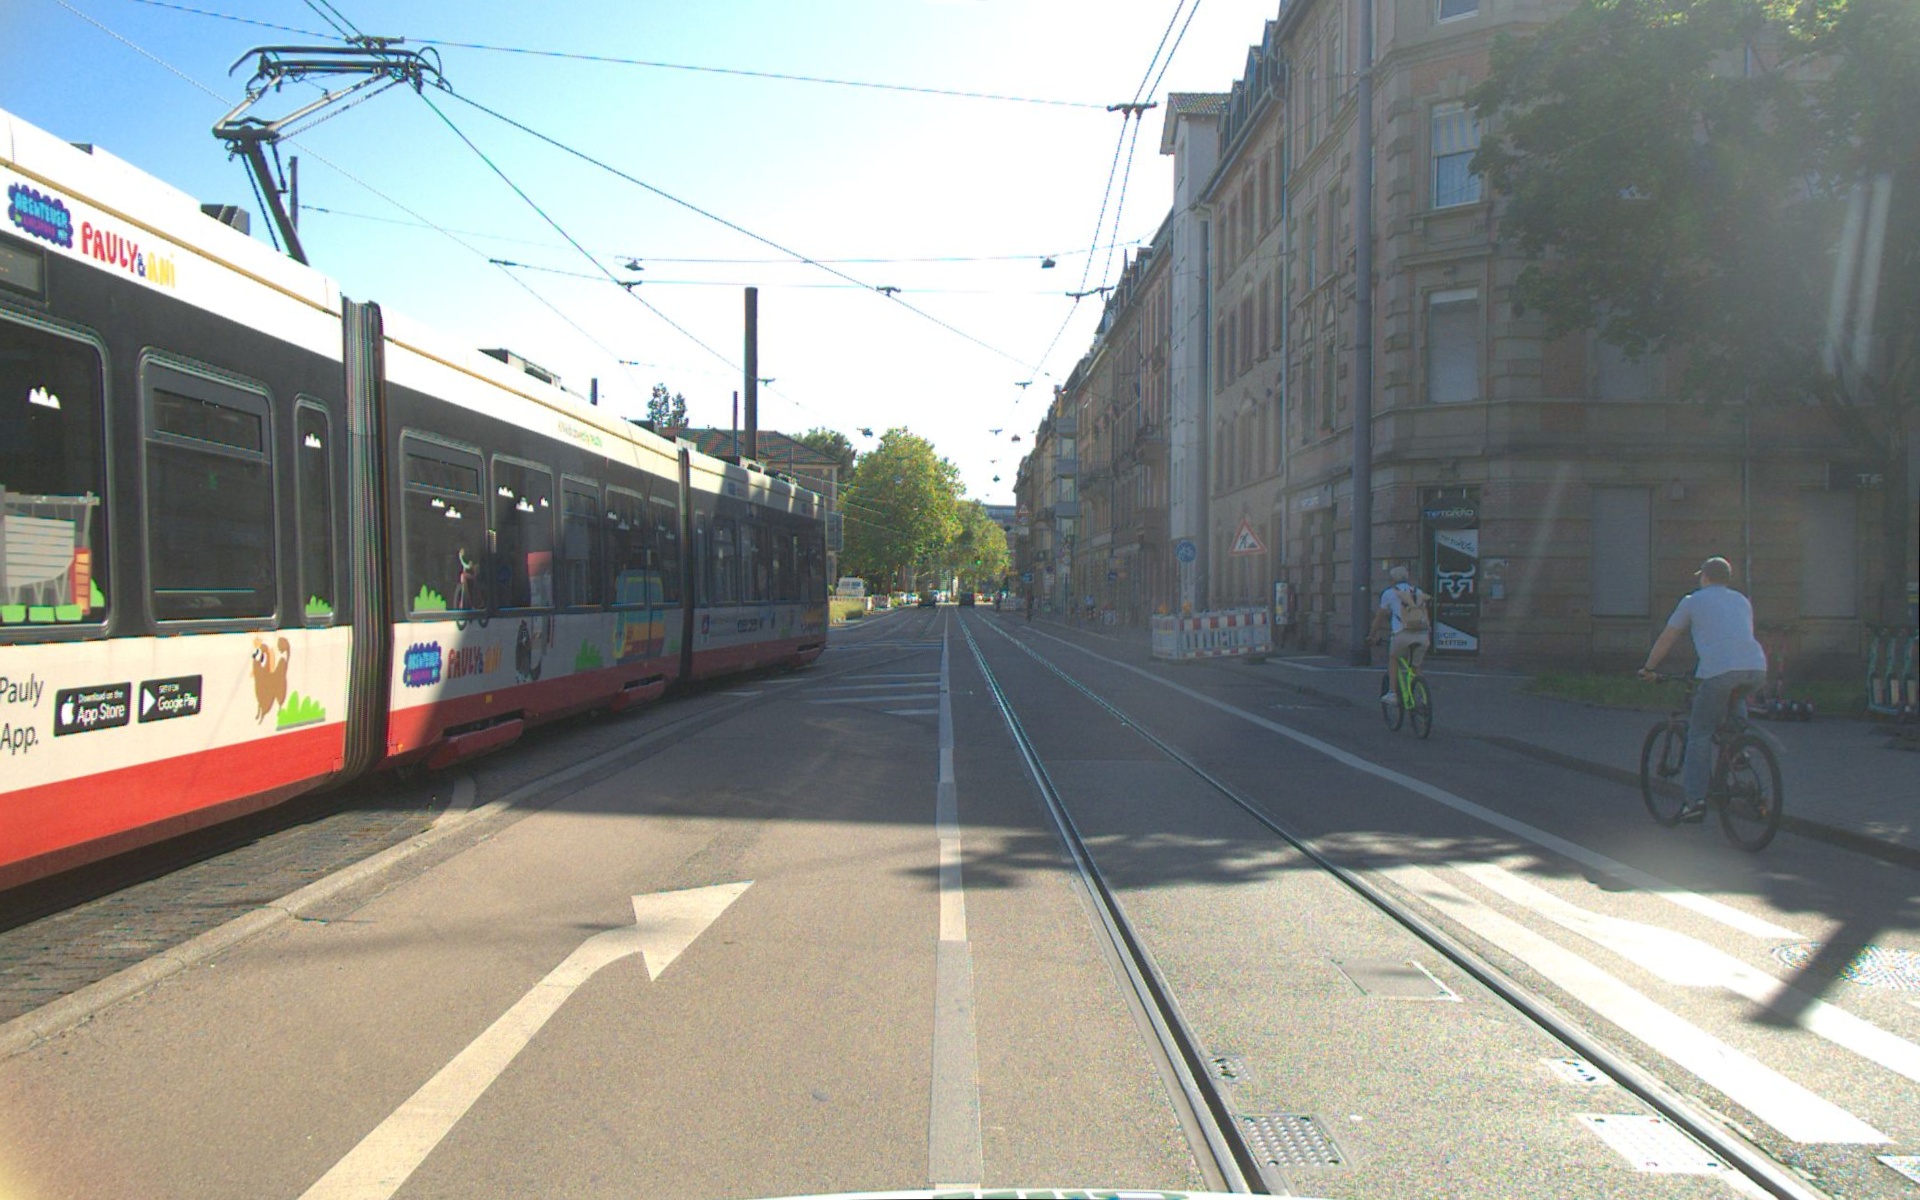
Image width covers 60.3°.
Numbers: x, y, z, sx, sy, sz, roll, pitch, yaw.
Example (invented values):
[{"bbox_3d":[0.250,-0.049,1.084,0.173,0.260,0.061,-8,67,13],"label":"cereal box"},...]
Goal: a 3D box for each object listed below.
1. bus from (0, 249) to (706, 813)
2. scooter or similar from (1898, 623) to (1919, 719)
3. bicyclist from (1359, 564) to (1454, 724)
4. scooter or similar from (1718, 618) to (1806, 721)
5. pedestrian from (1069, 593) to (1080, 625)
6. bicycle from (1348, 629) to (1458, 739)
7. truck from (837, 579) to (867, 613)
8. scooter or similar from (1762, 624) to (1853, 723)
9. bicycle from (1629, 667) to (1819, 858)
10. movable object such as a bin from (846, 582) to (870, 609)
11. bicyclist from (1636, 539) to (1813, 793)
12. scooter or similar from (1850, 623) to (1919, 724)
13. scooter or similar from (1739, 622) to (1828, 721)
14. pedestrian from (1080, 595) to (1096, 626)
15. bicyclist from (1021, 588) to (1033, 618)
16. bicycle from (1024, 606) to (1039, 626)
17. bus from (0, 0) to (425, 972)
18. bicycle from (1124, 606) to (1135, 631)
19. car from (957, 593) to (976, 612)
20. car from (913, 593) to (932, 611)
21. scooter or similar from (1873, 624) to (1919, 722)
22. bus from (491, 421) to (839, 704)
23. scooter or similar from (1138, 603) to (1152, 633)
[{"bbox_3d":[-4.880,-0.464,16.197,2.782,3.652,10.728,1,0,2],"label":"bus"},{"bbox_3d":[12.324,0.903,20.695,0.264,1.217,1.565,2,-1,0],"label":"scooter or similar"},{"bbox_3d":[4.990,0.482,18.549,0.667,1.713,1.119,2,-1,-3],"label":"bicyclist"},{"bbox_3d":[10.113,0.853,20.908,0.264,1.241,1.703,2,-1,0],"label":"scooter or similar"},{"bbox_3d":[6.279,0.489,90.697,0.541,1.730,0.474,-2,-1,6],"label":"pedestrian"},{"bbox_3d":[5.004,0.924,18.798,0.521,1.137,1.931,2,0,-6],"label":"bicycle"},{"bbox_3d":[-9.543,-0.335,145.855,2.488,2.879,6.371,2,-1,-4],"label":"truck"},{"bbox_3d":[10.721,0.909,20.967,0.264,1.183,1.703,2,-1,0],"label":"scooter or similar"},{"bbox_3d":[5.055,1.031,11.057,0.378,1.087,1.934,0,0,0],"label":"bicycle"},{"bbox_3d":[-10.854,-0.495,176.943,2.445,2.691,5.985,2,0,-3],"label":"movable object such as a bin"},{"bbox_3d":[5.073,0.423,11.028,0.766,1.621,0.885,0,0,0],"label":"bicyclist"},{"bbox_3d":[11.689,0.896,20.688,0.264,1.206,1.565,2,-1,0],"label":"scooter or similar"},{"bbox_3d":[10.401,0.881,20.941,0.264,1.177,1.703,2,-1,0],"label":"scooter or similar"},{"bbox_3d":[6.820,0.540,88.202,0.781,1.633,0.652,0,-1,2],"label":"pedestrian"},{"bbox_3d":[3.962,0.160,97.788,0.653,1.726,1.043,2,-1,-1],"label":"bicyclist"},{"bbox_3d":[4.213,0.922,97.609,0.667,1.134,2.706,2,0,-1],"label":"bicycle"},{"bbox_3d":[-4.848,-0.480,4.180,2.783,3.652,13.492,1,0,-1],"label":"bus"},{"bbox_3d":[7.726,0.850,75.296,0.401,1.141,1.898,-1,-1,4],"label":"bicycle"},{"bbox_3d":[0.724,0.299,185.599,1.953,2.049,4.000,2,-1,0],"label":"car"},{"bbox_3d":[-3.722,0.210,165.076,1.723,1.726,4.144,2,-1,1],"label":"car"},{"bbox_3d":[11.999,0.908,20.700,0.264,1.206,1.565,2,-1,0],"label":"scooter or similar"},{"bbox_3d":[-4.265,-0.505,27.175,2.781,3.652,11.277,1,0,5],"label":"bus"},{"bbox_3d":[7.740,0.740,69.290,0.398,1.232,1.480,-1,-1,0],"label":"scooter or similar"}]
